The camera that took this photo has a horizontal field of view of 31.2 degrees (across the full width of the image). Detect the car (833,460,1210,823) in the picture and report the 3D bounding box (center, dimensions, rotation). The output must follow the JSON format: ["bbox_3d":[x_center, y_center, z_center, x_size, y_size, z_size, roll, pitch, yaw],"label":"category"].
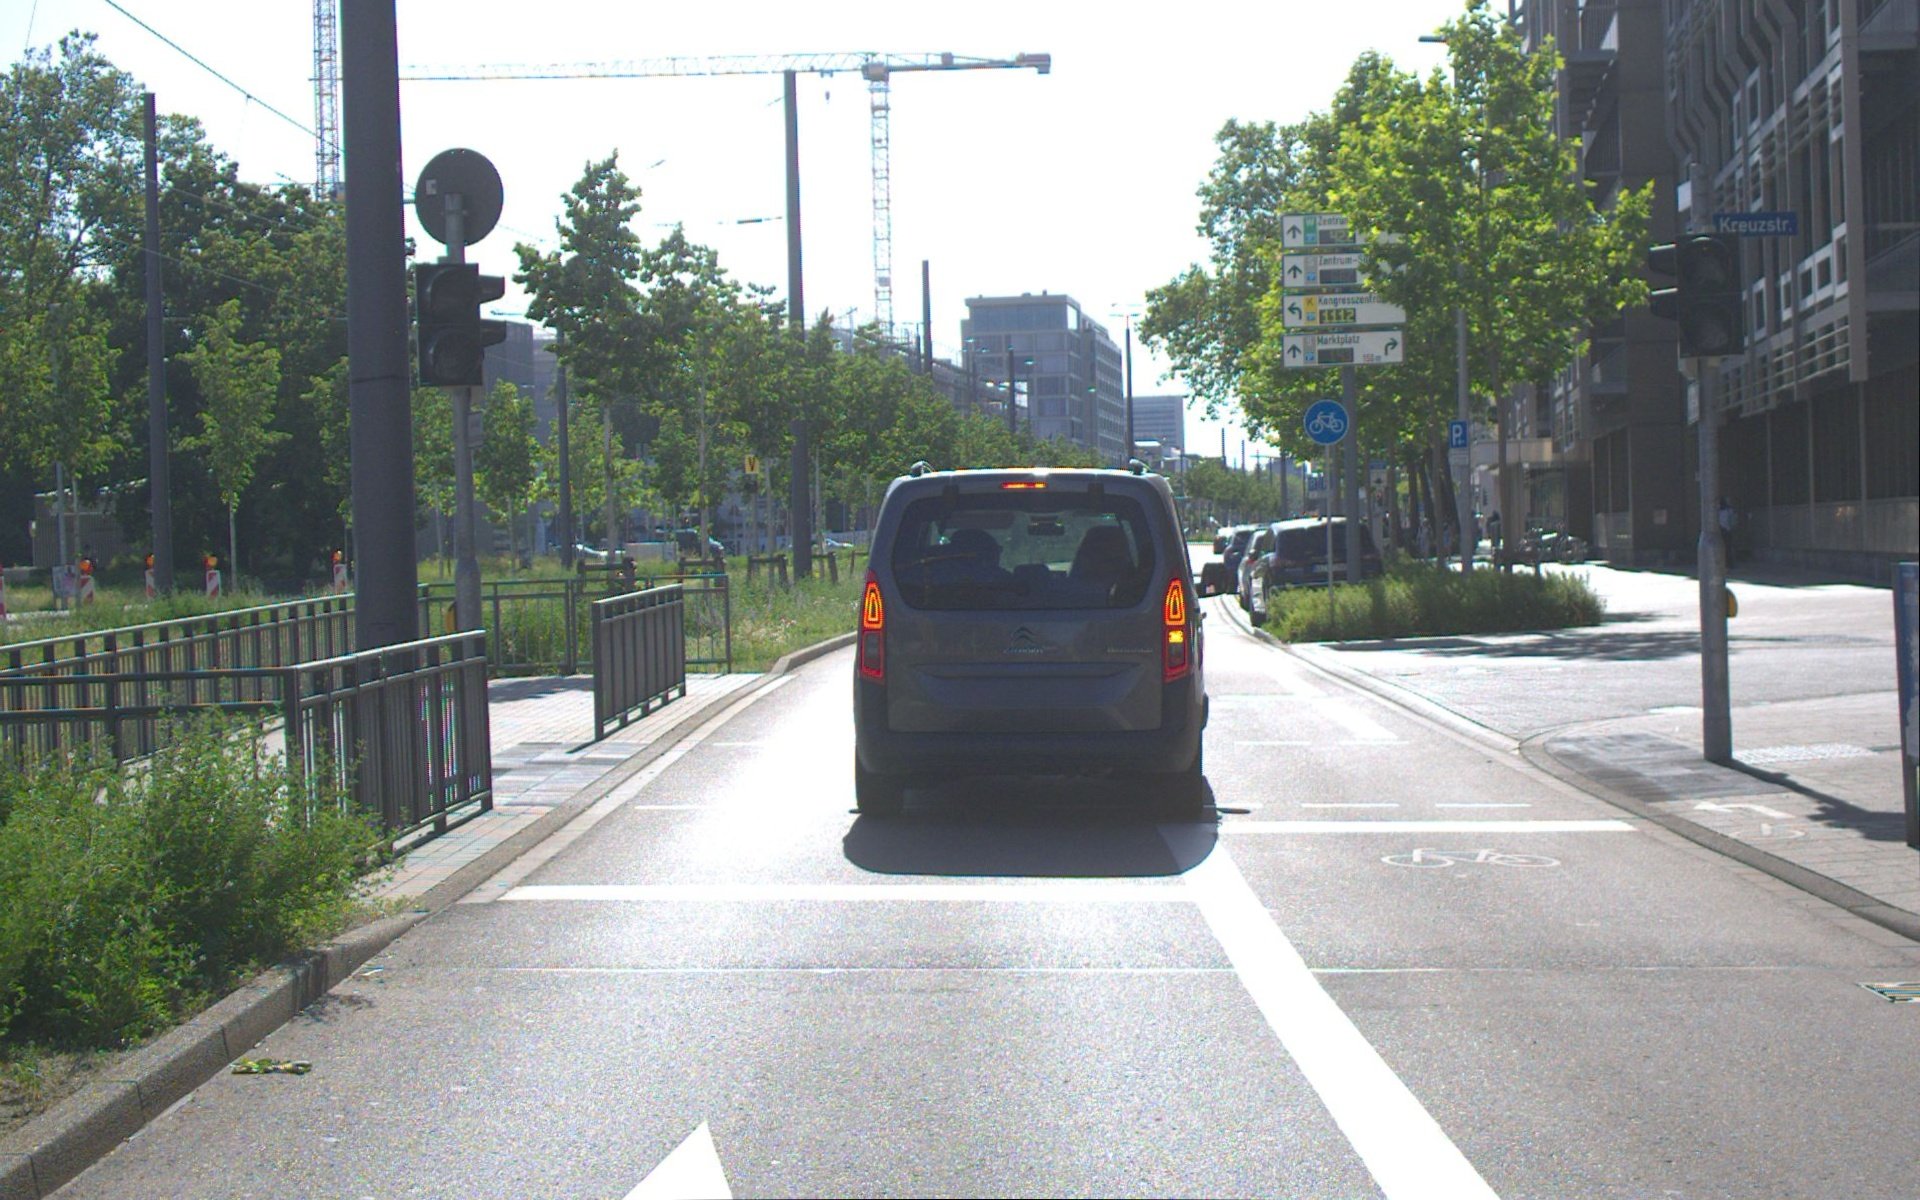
[{"bbox_3d":[0.440,0.166,18.965,1.812,1.746,4.167,-1,1,4],"label":"car"}]

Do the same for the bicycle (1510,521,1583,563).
[{"bbox_3d":[15.568,-1.530,91.235,1.858,1.007,0.426,-3,1,9],"label":"bicycle"}]

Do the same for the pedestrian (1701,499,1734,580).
[{"bbox_3d":[15.486,-1.249,70.301,0.511,1.617,0.674,-4,1,7],"label":"pedestrian"}]

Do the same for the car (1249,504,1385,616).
[{"bbox_3d":[5.591,-0.643,54.228,1.747,1.653,4.470,-1,1,1],"label":"car"}]

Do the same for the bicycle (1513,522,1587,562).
[{"bbox_3d":[15.457,-1.531,90.066,1.858,0.935,0.426,-3,1,9],"label":"bicycle"}]

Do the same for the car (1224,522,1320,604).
[{"bbox_3d":[5.994,-0.740,66.380,1.618,1.460,4.155,-3,1,3],"label":"car"}]
